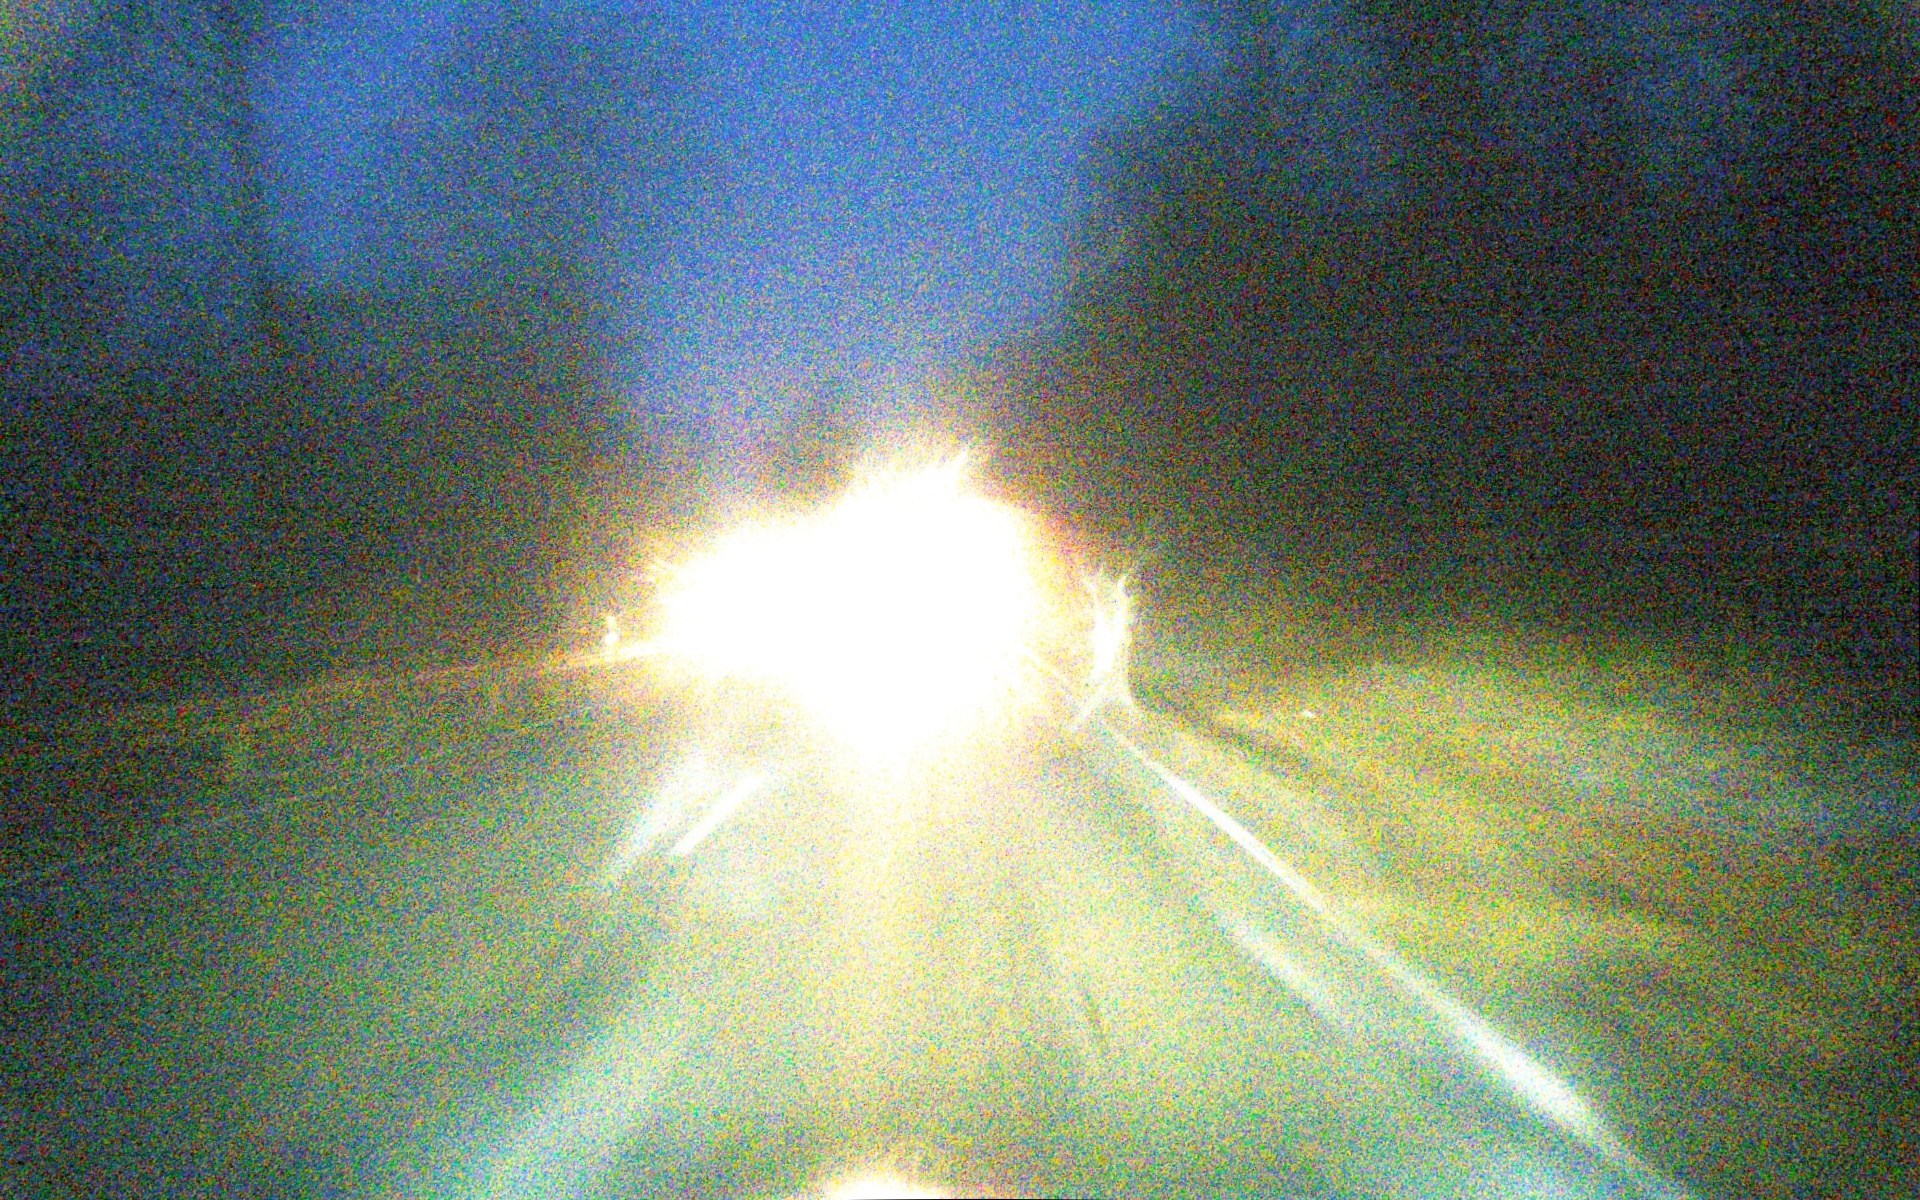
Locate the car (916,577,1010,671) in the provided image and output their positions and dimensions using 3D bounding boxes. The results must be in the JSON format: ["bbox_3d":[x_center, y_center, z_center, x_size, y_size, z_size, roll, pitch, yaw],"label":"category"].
[{"bbox_3d":[0.016,0.482,37.020,1.953,1.838,3.917,-2,2,-1],"label":"car"}]

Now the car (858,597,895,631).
[{"bbox_3d":[-4.543,0.729,89.710,1.604,1.608,3.738,-2,2,-8],"label":"car"}]
